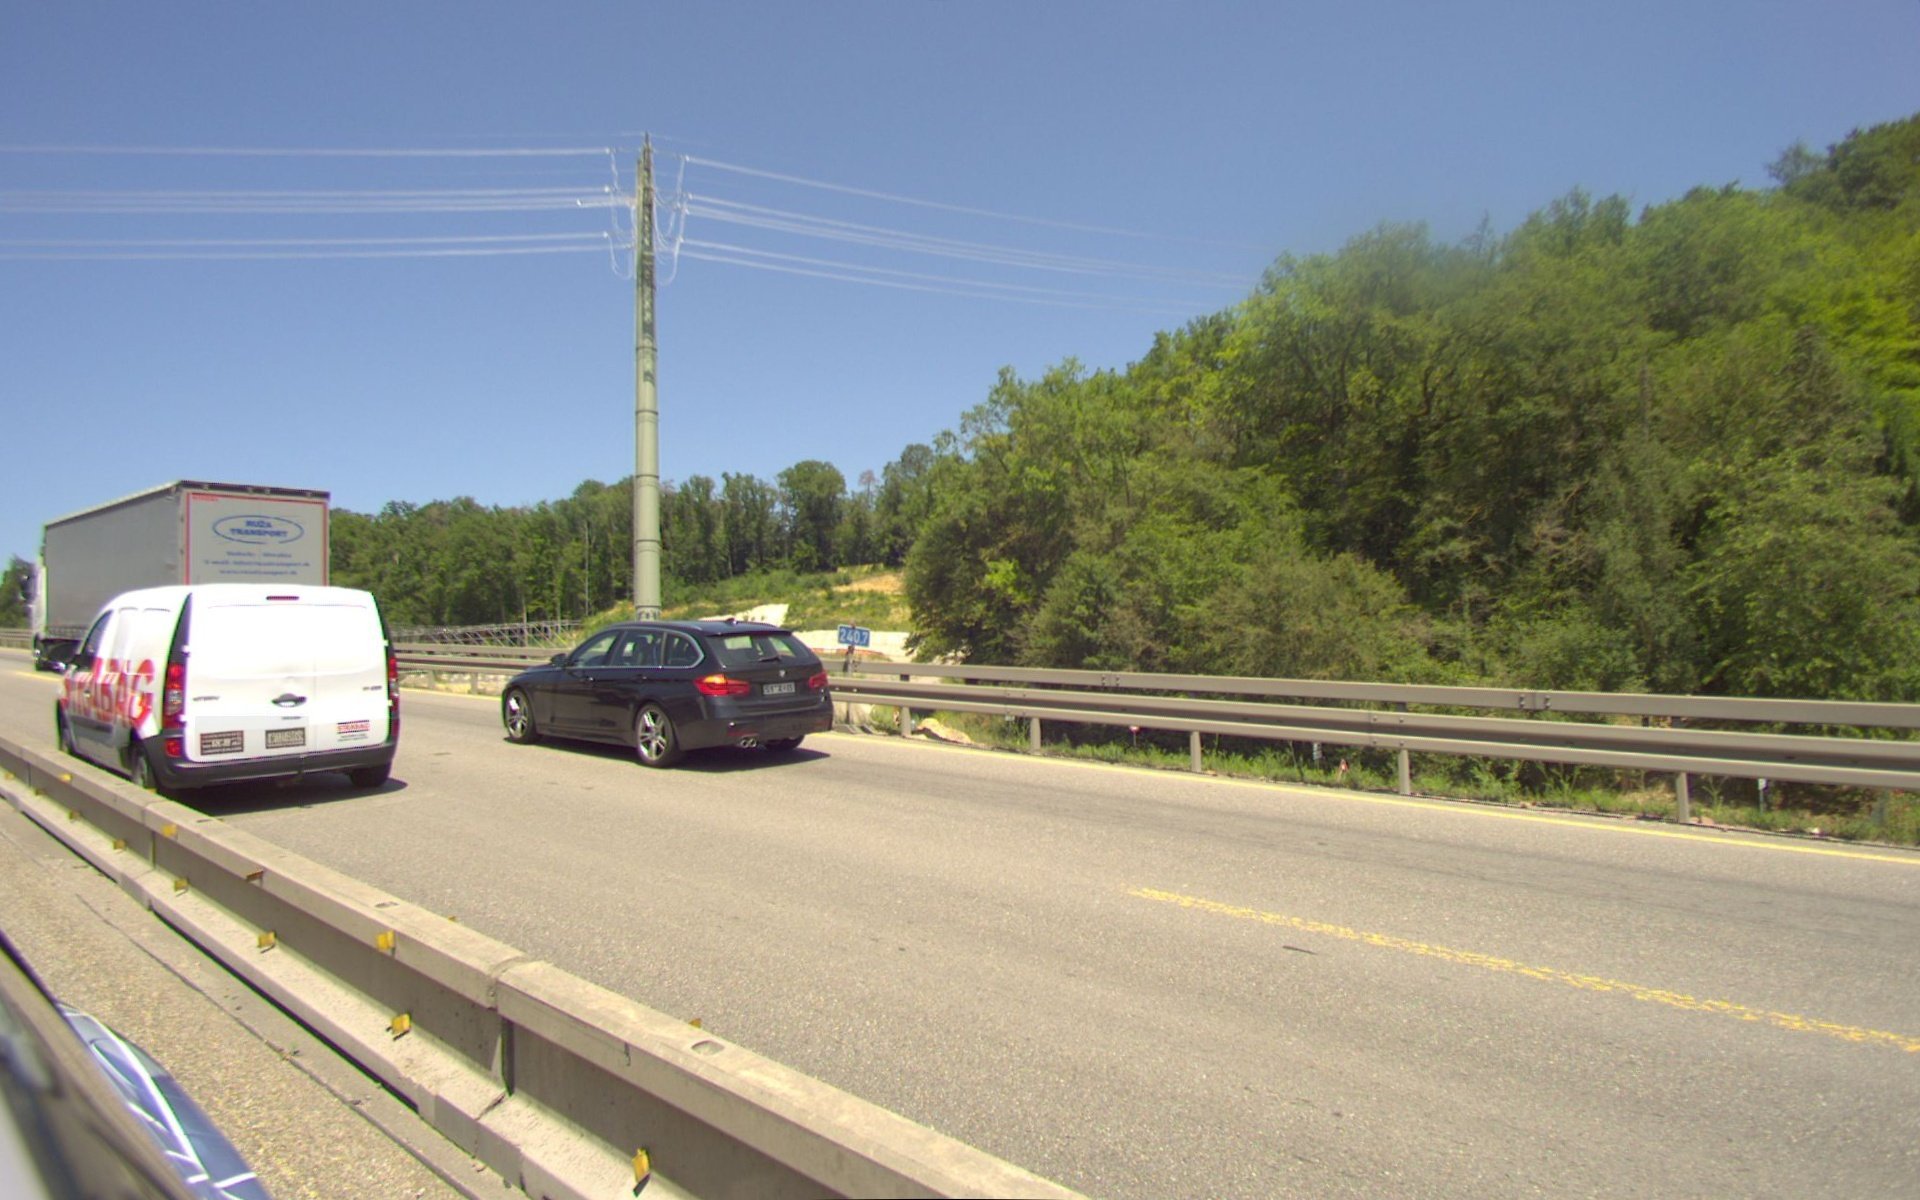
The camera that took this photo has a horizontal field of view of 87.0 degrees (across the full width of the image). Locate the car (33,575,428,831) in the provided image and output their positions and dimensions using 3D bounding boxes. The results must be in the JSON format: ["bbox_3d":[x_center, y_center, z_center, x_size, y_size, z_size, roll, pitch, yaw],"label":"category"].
[{"bbox_3d":[-6.680,0.729,9.099,4.228,1.786,1.841,-1,0,39],"label":"car"}]

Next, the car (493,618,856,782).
[{"bbox_3d":[-3.245,0.923,11.047,4.301,1.439,1.758,-1,-2,41],"label":"car"}]

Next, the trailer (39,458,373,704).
[{"bbox_3d":[-18.383,-0.298,24.060,12.915,4.520,3.454,-1,0,40],"label":"trailer"}]

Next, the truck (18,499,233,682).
[{"bbox_3d":[-23.489,-0.206,28.351,7.269,4.455,3.362,-1,0,40],"label":"truck"}]
